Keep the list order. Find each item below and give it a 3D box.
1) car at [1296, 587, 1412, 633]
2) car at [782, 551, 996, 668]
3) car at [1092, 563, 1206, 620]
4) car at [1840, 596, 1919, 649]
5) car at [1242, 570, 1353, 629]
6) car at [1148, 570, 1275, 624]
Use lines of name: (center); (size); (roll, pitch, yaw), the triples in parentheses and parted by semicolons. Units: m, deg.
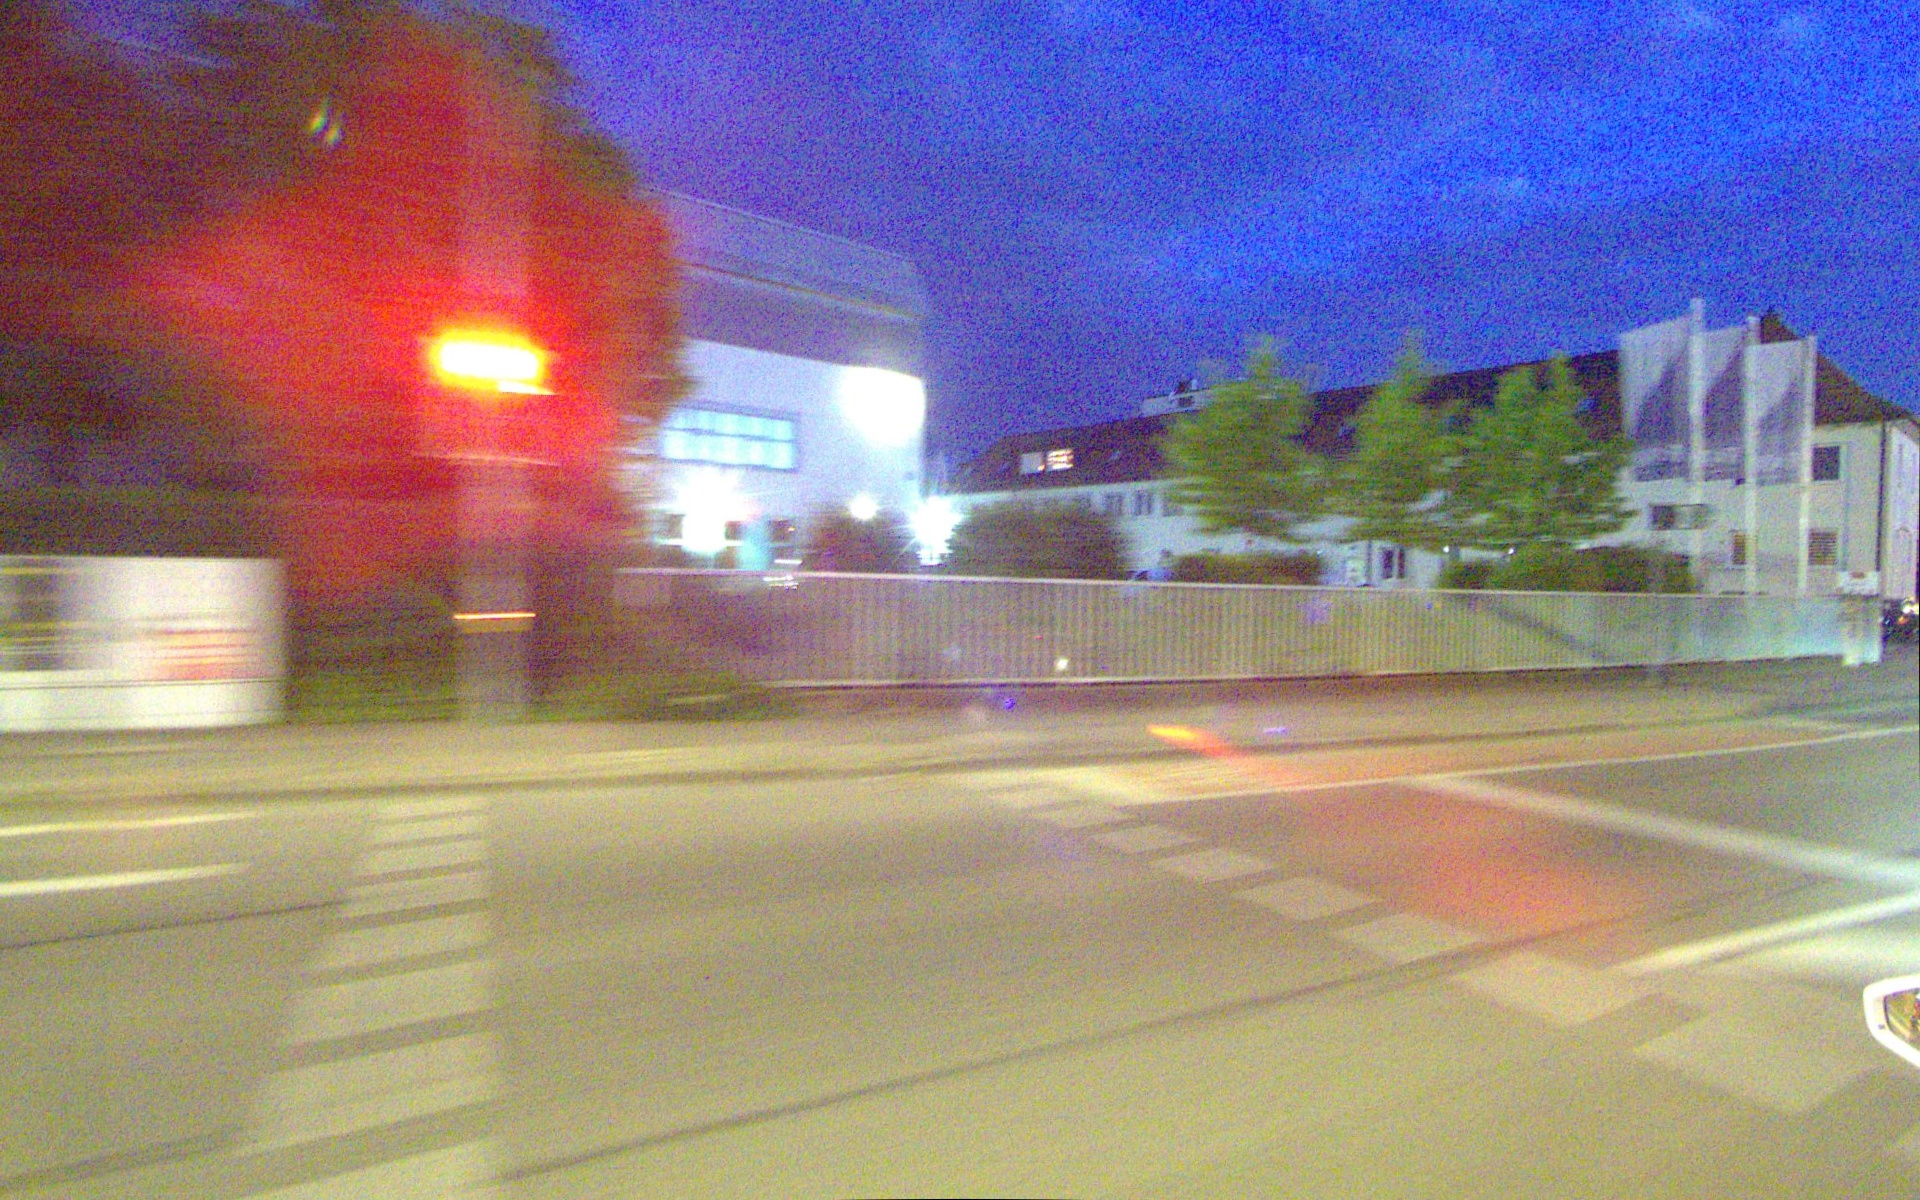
car: (13.786, 0.339, 35.042); (4.580, 1.484, 1.825); (1, 1, -41)
car: (-1.372, 0.122, 17.606); (1.979, 1.796, 4.102); (1, 1, -33)
car: (8.075, -0.351, 42.655); (5.372, 2.265, 2.001); (0, 1, -44)
car: (29.185, 0.654, 31.806); (1.806, 1.514, 4.506); (2, 1, 40)
car: (12.643, -0.017, 37.477); (4.656, 2.041, 1.974); (0, 1, -44)
car: (10.165, -0.117, 40.405); (5.365, 2.031, 2.231); (1, 1, -40)
